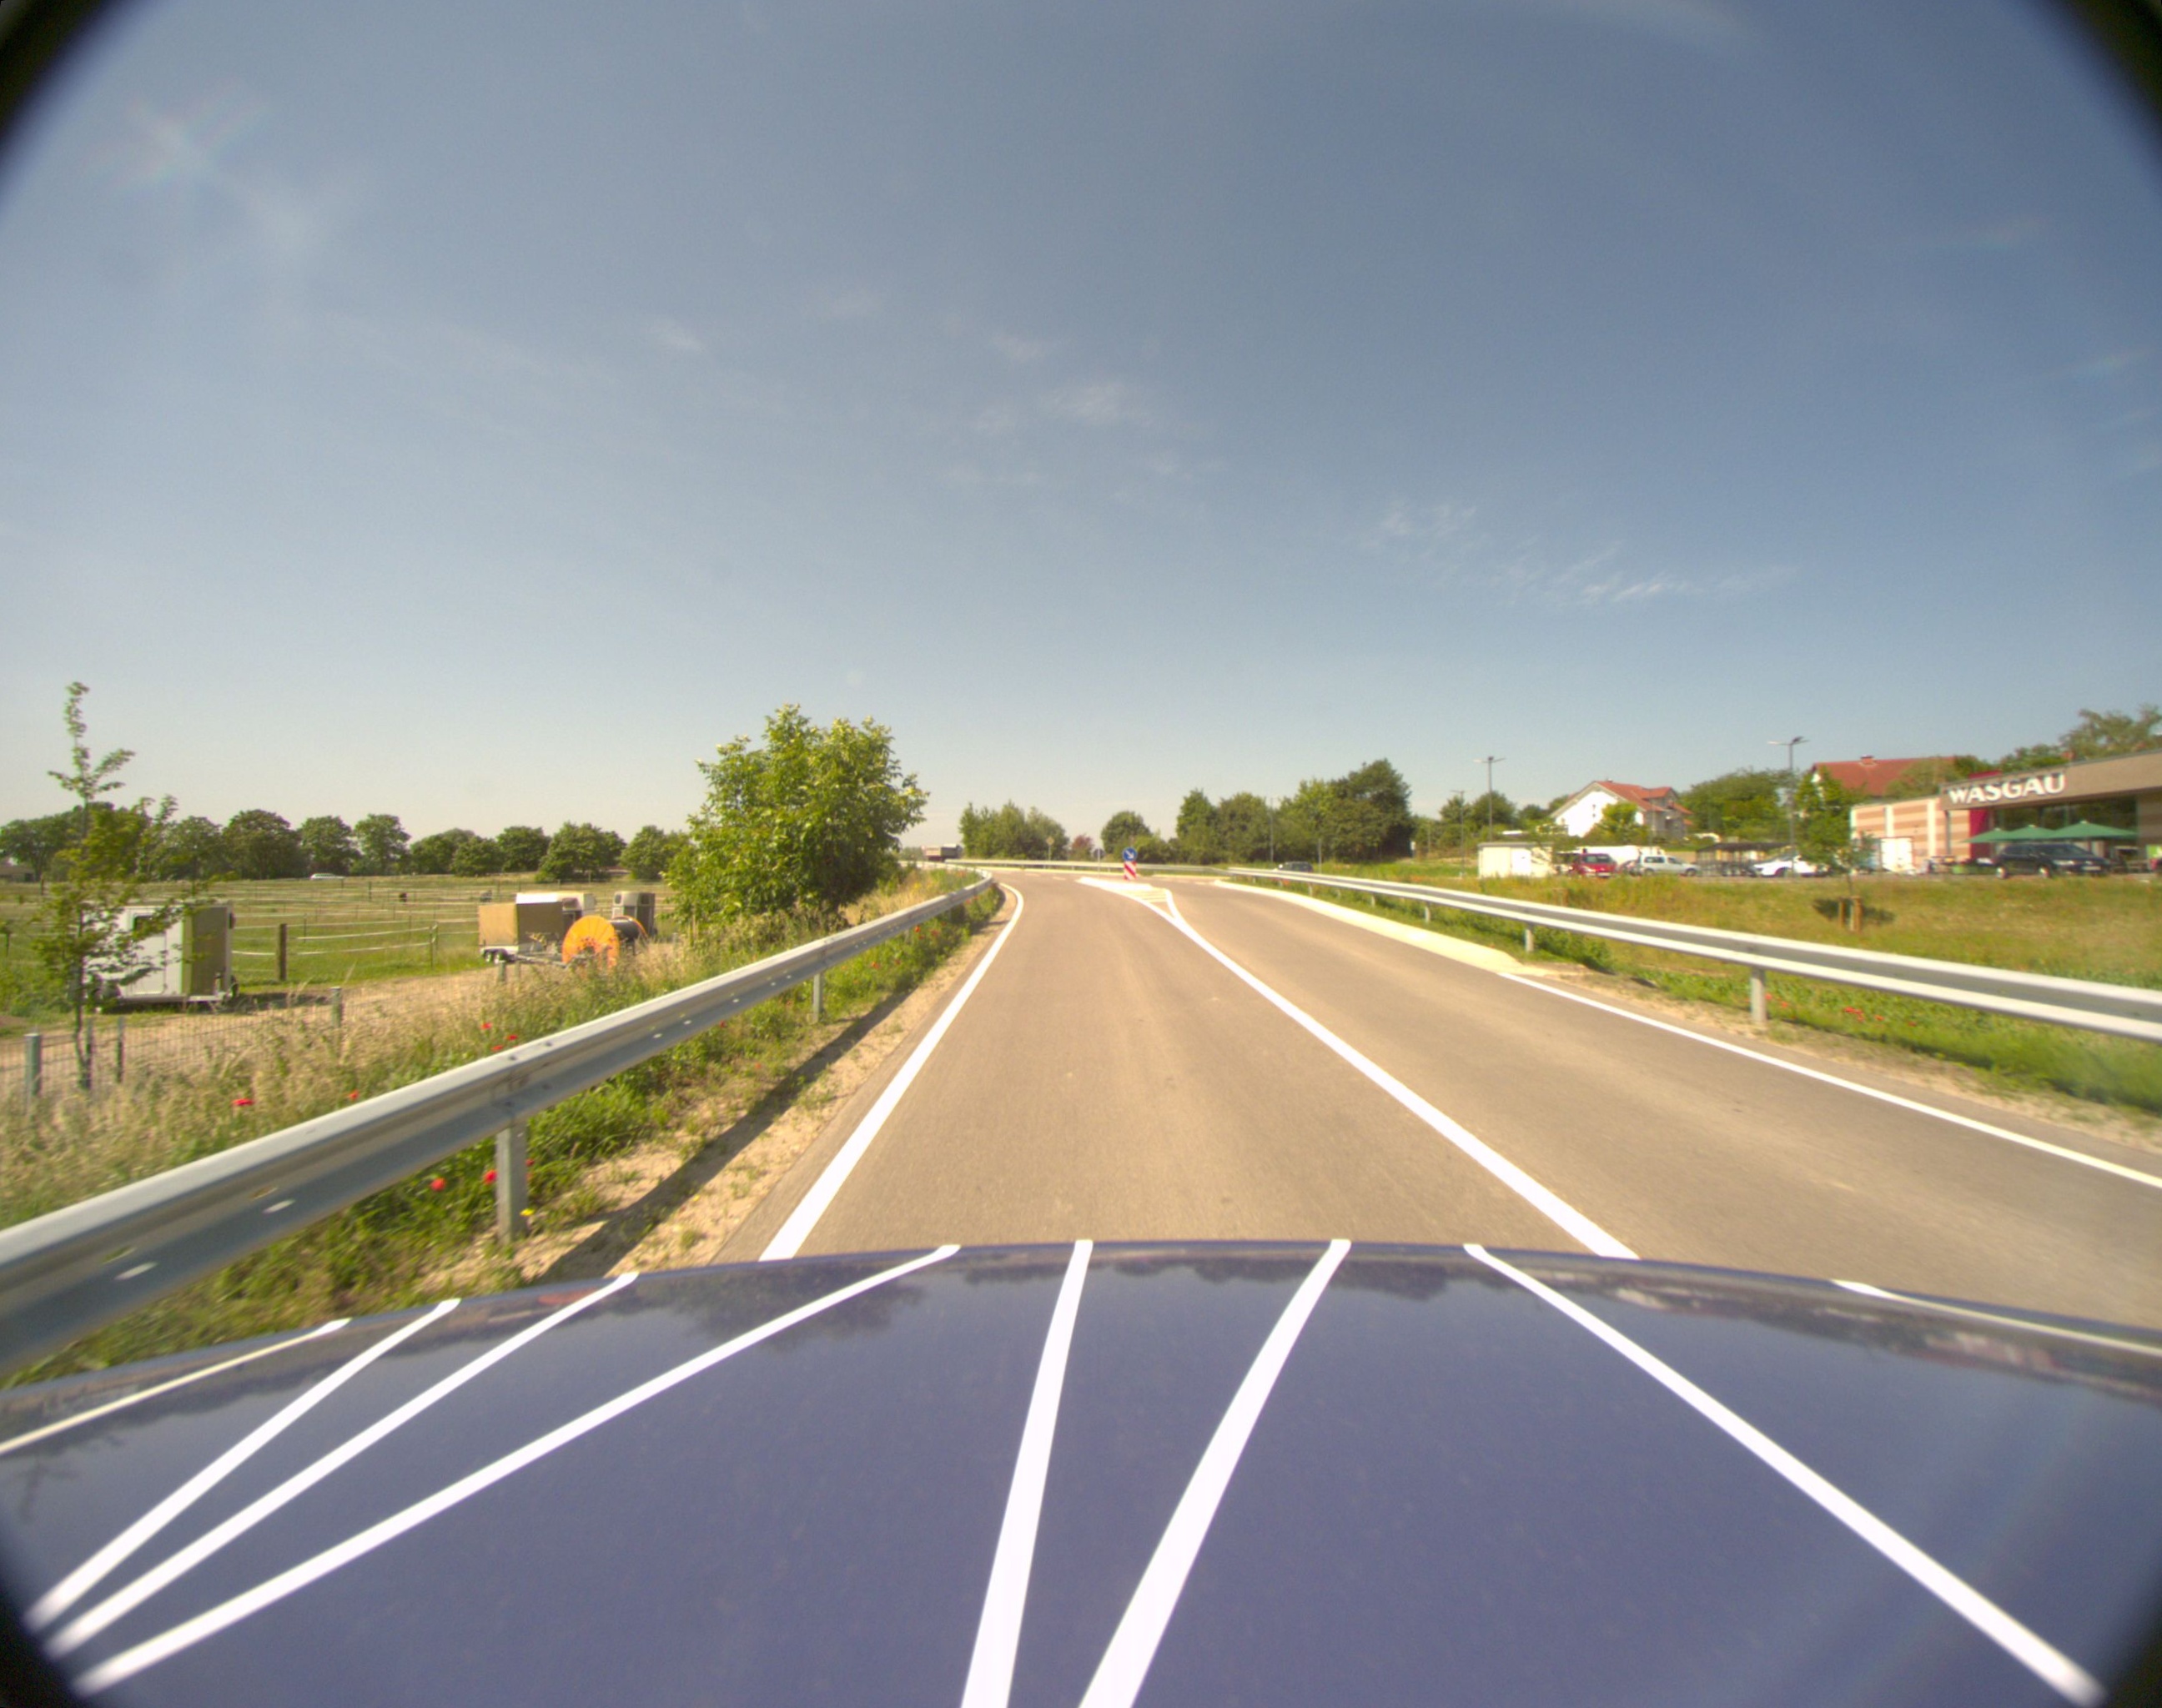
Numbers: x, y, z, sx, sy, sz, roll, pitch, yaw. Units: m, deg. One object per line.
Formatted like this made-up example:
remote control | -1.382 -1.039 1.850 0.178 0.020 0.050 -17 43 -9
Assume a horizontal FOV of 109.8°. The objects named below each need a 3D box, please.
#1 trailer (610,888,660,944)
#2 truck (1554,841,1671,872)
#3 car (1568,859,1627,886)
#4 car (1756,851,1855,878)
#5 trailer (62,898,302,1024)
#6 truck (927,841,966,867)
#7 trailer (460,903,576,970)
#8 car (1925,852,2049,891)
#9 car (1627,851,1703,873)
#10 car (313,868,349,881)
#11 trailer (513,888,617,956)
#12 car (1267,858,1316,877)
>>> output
trailer | -23.498 3.211 40.138 2.003 2.787 3.372 1 -3 -26
truck | 58.599 0.218 83.909 10.706 3.173 2.448 -1 1 7
car | 26.787 0.943 39.515 1.621 1.281 3.679 -1 0 19
car | 47.896 0.684 50.335 4.323 1.694 2.003 -1 1 21
trailer | -22.225 2.478 18.804 5.176 2.672 2.212 -1 -1 21
truck | -19.313 -0.050 109.694 2.820 3.519 8.198 -1 1 11
trailer | -22.114 3.190 29.838 4.083 2.376 2.010 -3 -1 28
car | 43.521 0.783 36.637 1.996 1.750 4.005 -1 0 17
car | 45.996 0.645 59.938 4.323 1.588 2.003 -1 1 20
car | -135.099 3.664 136.929 1.994 2.002 4.300 0 1 36
trailer | -22.987 2.961 33.909 3.413 2.788 2.168 -1 0 19
car | 19.296 1.226 69.657 4.187 1.694 2.002 -1 1 20
